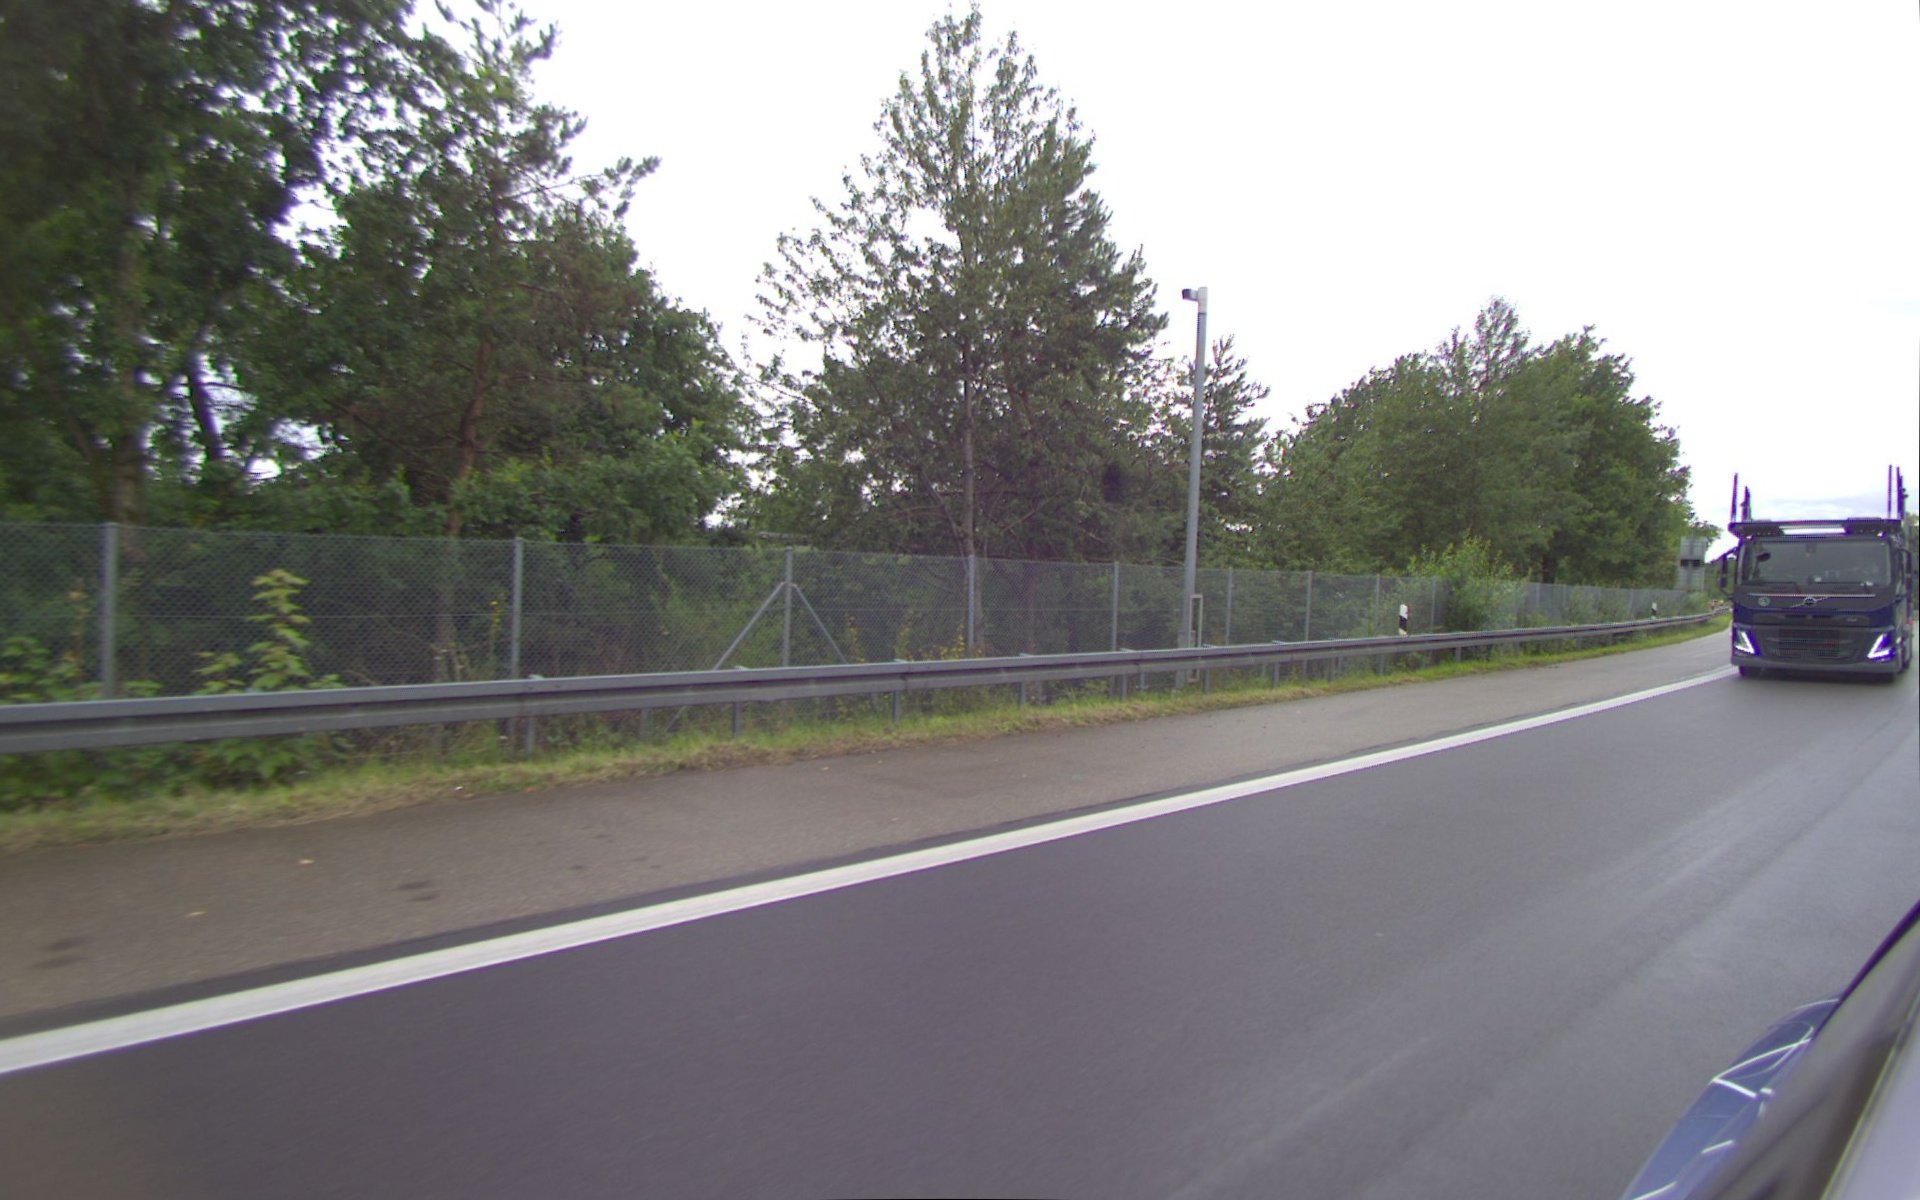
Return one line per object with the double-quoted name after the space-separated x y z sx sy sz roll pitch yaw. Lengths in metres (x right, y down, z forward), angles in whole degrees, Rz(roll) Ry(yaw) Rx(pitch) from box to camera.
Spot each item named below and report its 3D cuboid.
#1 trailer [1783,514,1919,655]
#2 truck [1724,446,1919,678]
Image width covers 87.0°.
25.601 -0.393 28.334 10.235 3.326 2.780 0 1 -45 "trailer"
18.843 -0.641 21.616 8.978 4.018 2.740 0 -1 -44 "truck"
